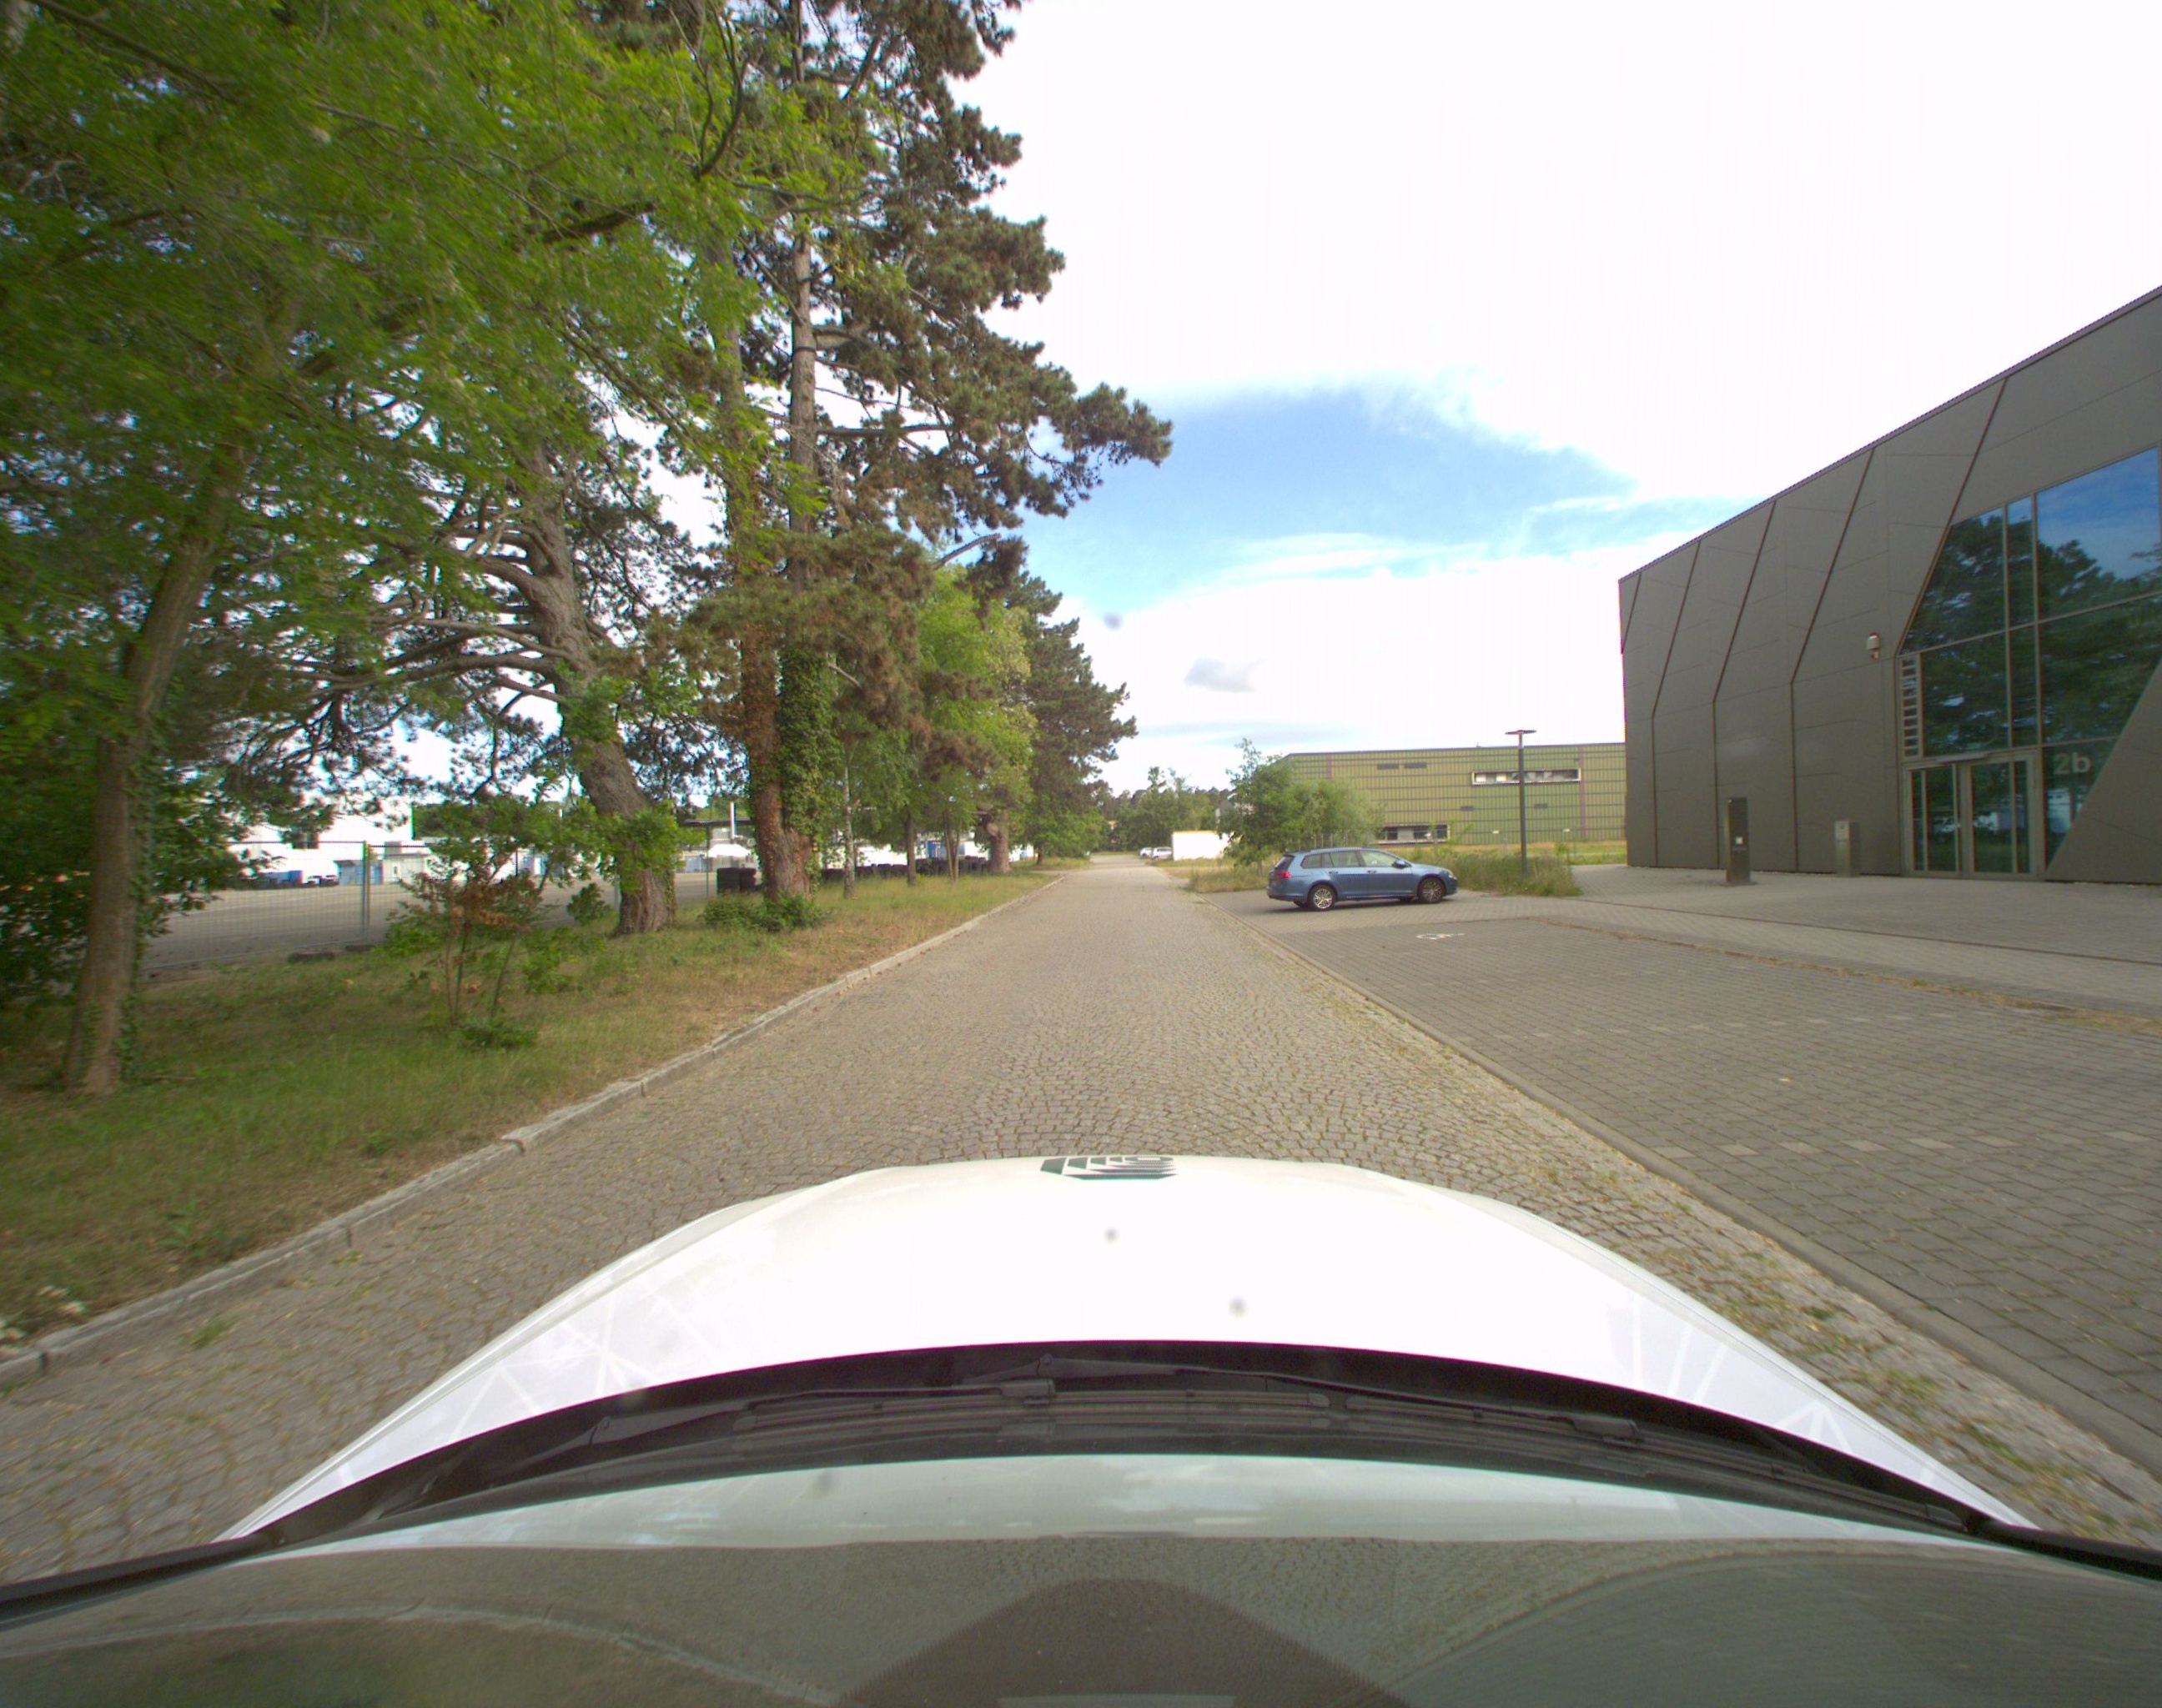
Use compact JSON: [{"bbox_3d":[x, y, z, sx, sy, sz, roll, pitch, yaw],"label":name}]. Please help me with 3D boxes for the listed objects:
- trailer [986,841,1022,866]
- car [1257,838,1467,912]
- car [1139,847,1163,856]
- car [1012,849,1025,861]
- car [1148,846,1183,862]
[{"bbox_3d":[-9.963,-0.131,106.961,3.144,3.067,8.795,-2,0,4],"label":"trailer"},{"bbox_3d":[6.815,0.496,20.067,4.509,1.443,1.823,-4,0,-1],"label":"car"},{"bbox_3d":[12.032,-0.398,139.735,4.008,1.502,1.549,-2,0,3],"label":"car"},{"bbox_3d":[-11.379,0.100,147.922,1.919,2.047,4.600,-2,0,0],"label":"car"},{"bbox_3d":[9.721,-0.007,93.606,3.837,1.654,1.686,-2,0,-1],"label":"car"}]
